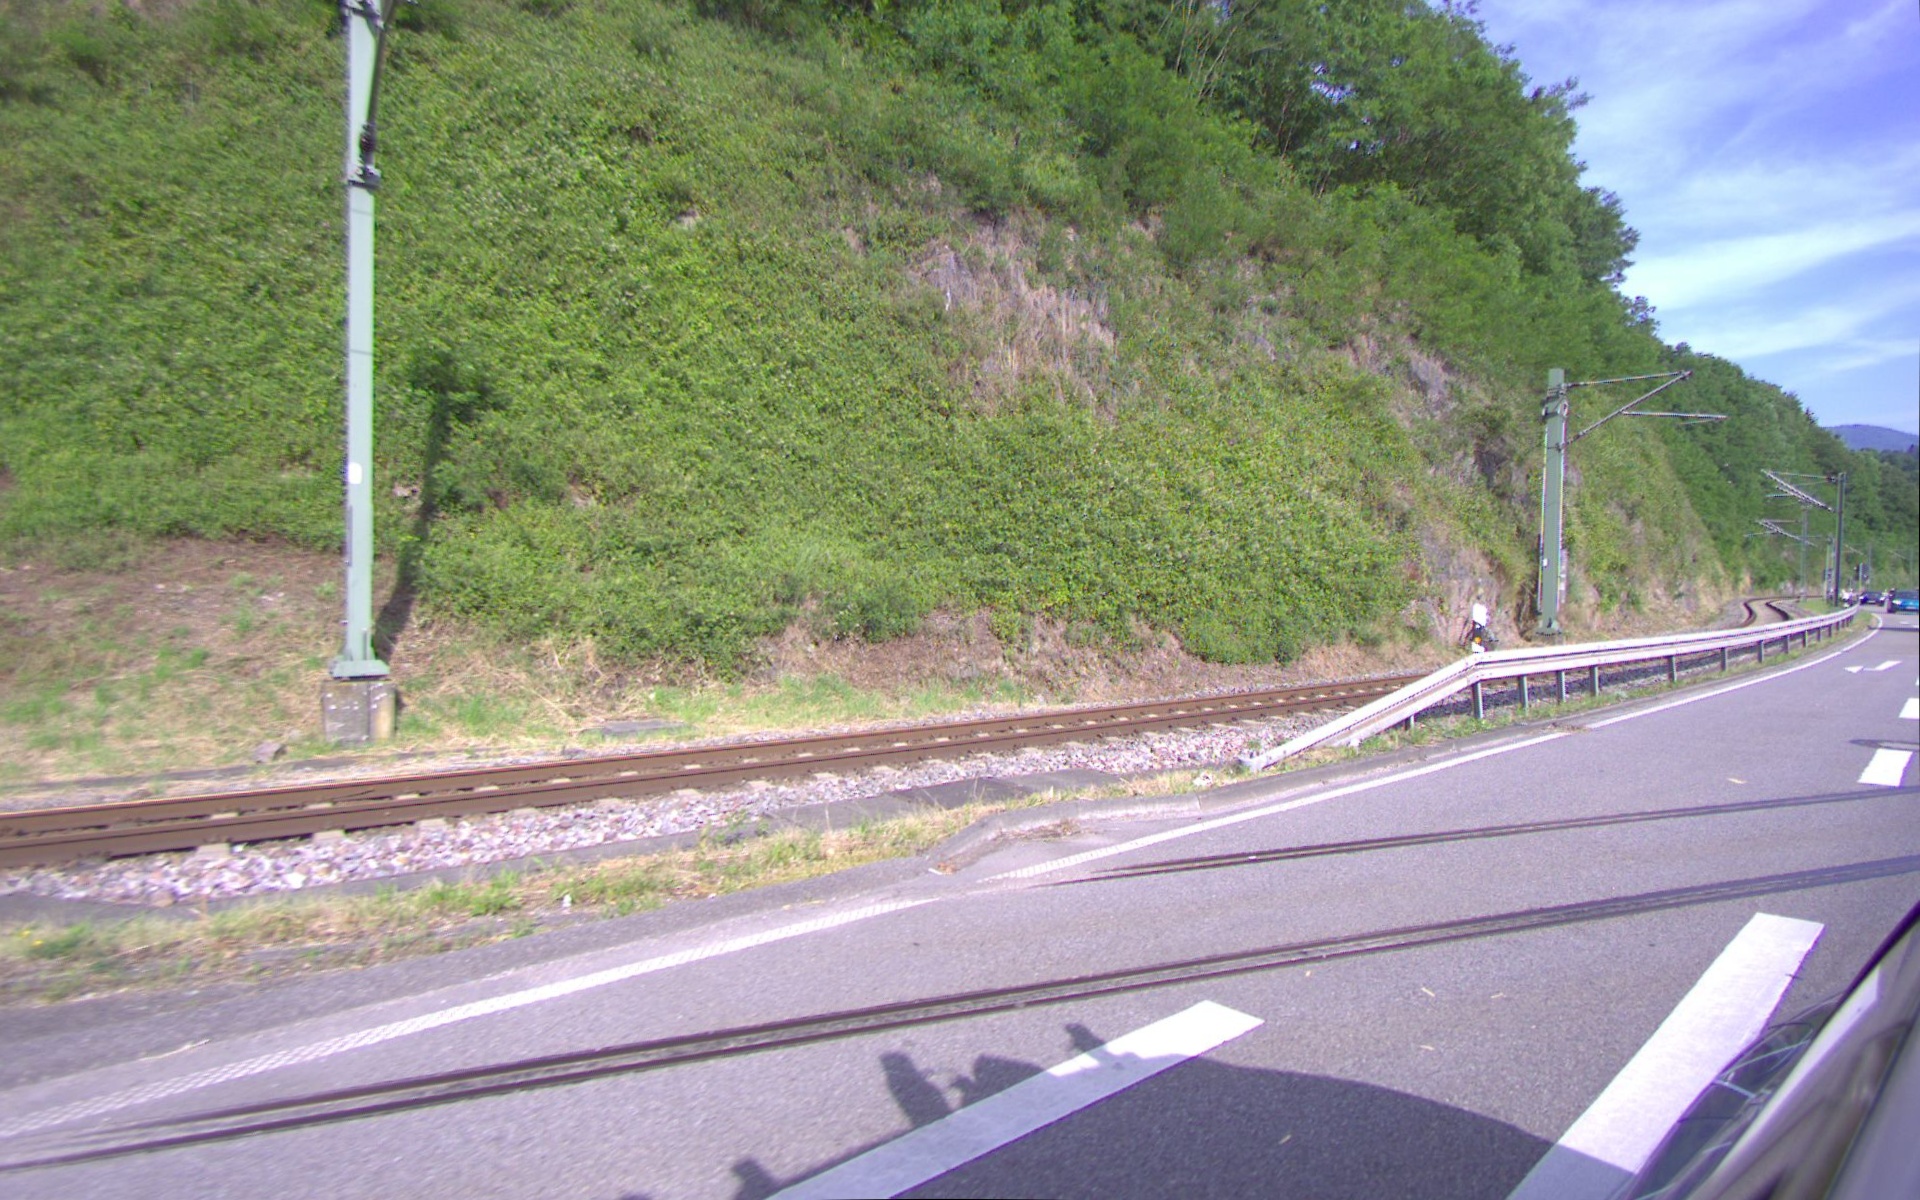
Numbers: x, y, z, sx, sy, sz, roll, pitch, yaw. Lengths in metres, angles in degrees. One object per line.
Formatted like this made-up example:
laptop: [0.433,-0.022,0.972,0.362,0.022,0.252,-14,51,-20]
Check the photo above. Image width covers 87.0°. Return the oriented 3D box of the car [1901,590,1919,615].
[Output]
car: [62.014,0.169,65.196,1.761,1.478,3.525,3,4,40]

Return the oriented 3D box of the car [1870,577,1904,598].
car: [84.055,-1.133,91.826,1.990,1.816,3.945,0,1,39]
